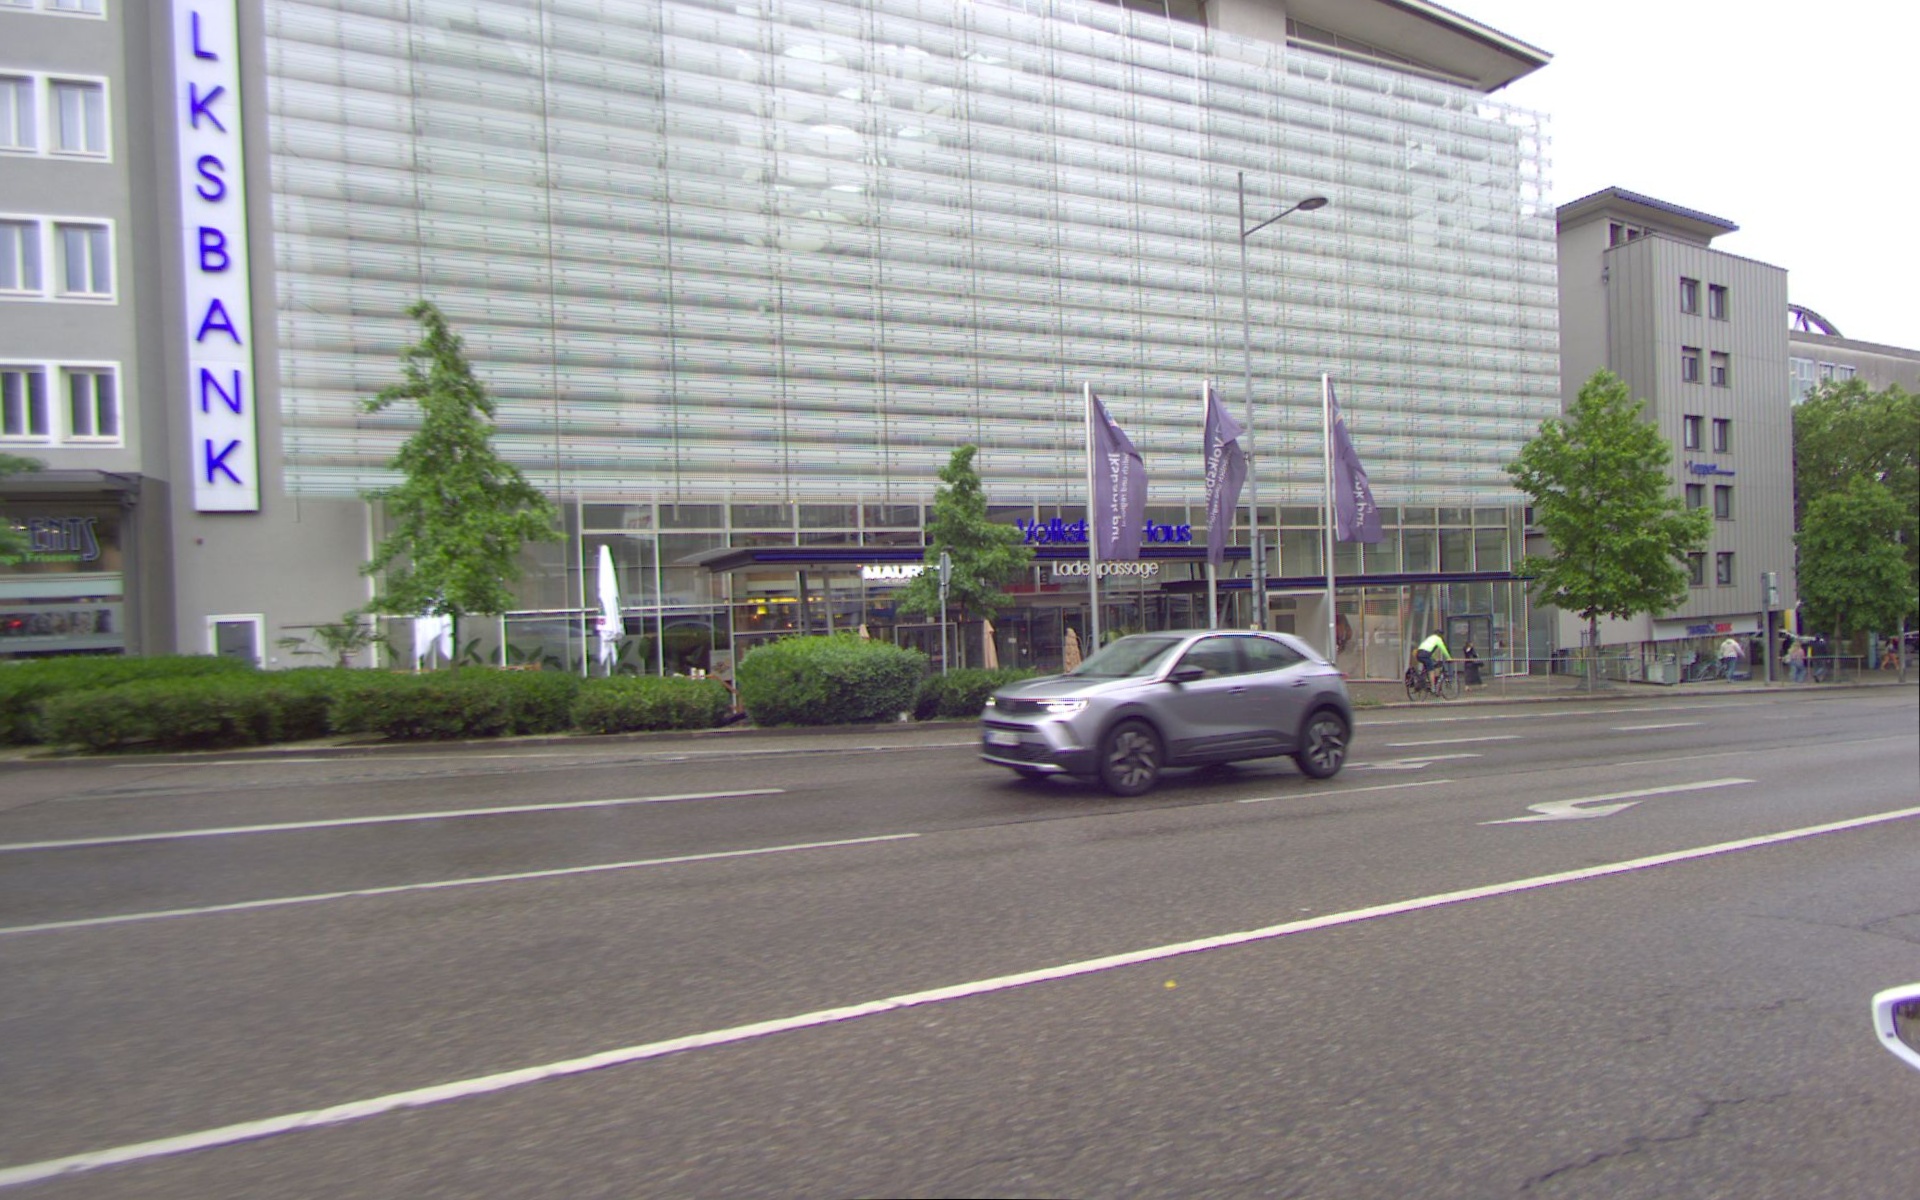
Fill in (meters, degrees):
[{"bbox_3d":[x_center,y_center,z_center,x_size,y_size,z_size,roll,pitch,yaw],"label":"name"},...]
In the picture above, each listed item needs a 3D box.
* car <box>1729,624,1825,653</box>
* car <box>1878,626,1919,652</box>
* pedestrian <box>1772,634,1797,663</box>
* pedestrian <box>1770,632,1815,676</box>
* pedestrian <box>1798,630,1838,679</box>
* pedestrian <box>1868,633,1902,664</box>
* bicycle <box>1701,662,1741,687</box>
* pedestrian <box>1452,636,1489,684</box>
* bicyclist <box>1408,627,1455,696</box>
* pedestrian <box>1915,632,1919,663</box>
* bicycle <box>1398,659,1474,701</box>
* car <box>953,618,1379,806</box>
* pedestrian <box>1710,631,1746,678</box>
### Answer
[{"bbox_3d":[57.553,2.680,70.813,1.985,1.782,5.024,2,0,-42],"label":"car"},{"bbox_3d":[64.252,2.656,66.832,1.775,1.665,4.635,2,0,-45],"label":"car"},{"bbox_3d":[50.270,2.963,61.264,0.937,1.745,0.757,0,-2,-18],"label":"pedestrian"},{"bbox_3d":[33.329,2.141,40.217,1.074,1.745,0.971,0,-2,-24],"label":"pedestrian"},{"bbox_3d":[31.365,1.979,36.715,1.301,1.735,0.809,1,-2,-38],"label":"pedestrian"},{"bbox_3d":[52.807,2.774,57.350,0.995,1.745,0.952,-3,-2,4],"label":"pedestrian"},{"bbox_3d":[36.217,3.530,47.813,2.640,1.101,0.608,2,-1,-31],"label":"bicycle"},{"bbox_3d":[15.891,1.858,31.274,0.833,1.475,0.650,0,-2,-24],"label":"pedestrian"},{"bbox_3d":[12.924,1.668,27.532,0.976,1.853,0.667,1,-3,-22],"label":"bicyclist"},{"bbox_3d":[55.290,2.702,57.234,0.745,1.745,0.951,0,-2,-7],"label":"pedestrian"},{"bbox_3d":[13.064,2.196,27.587,2.040,1.114,0.677,2,-2,-22],"label":"bicycle"},{"bbox_3d":[2.139,1.020,10.256,4.045,1.572,1.833,1,-4,-30],"label":"car"},{"bbox_3d":[28.781,2.020,37.627,0.981,1.745,1.033,-2,-2,42],"label":"pedestrian"}]
